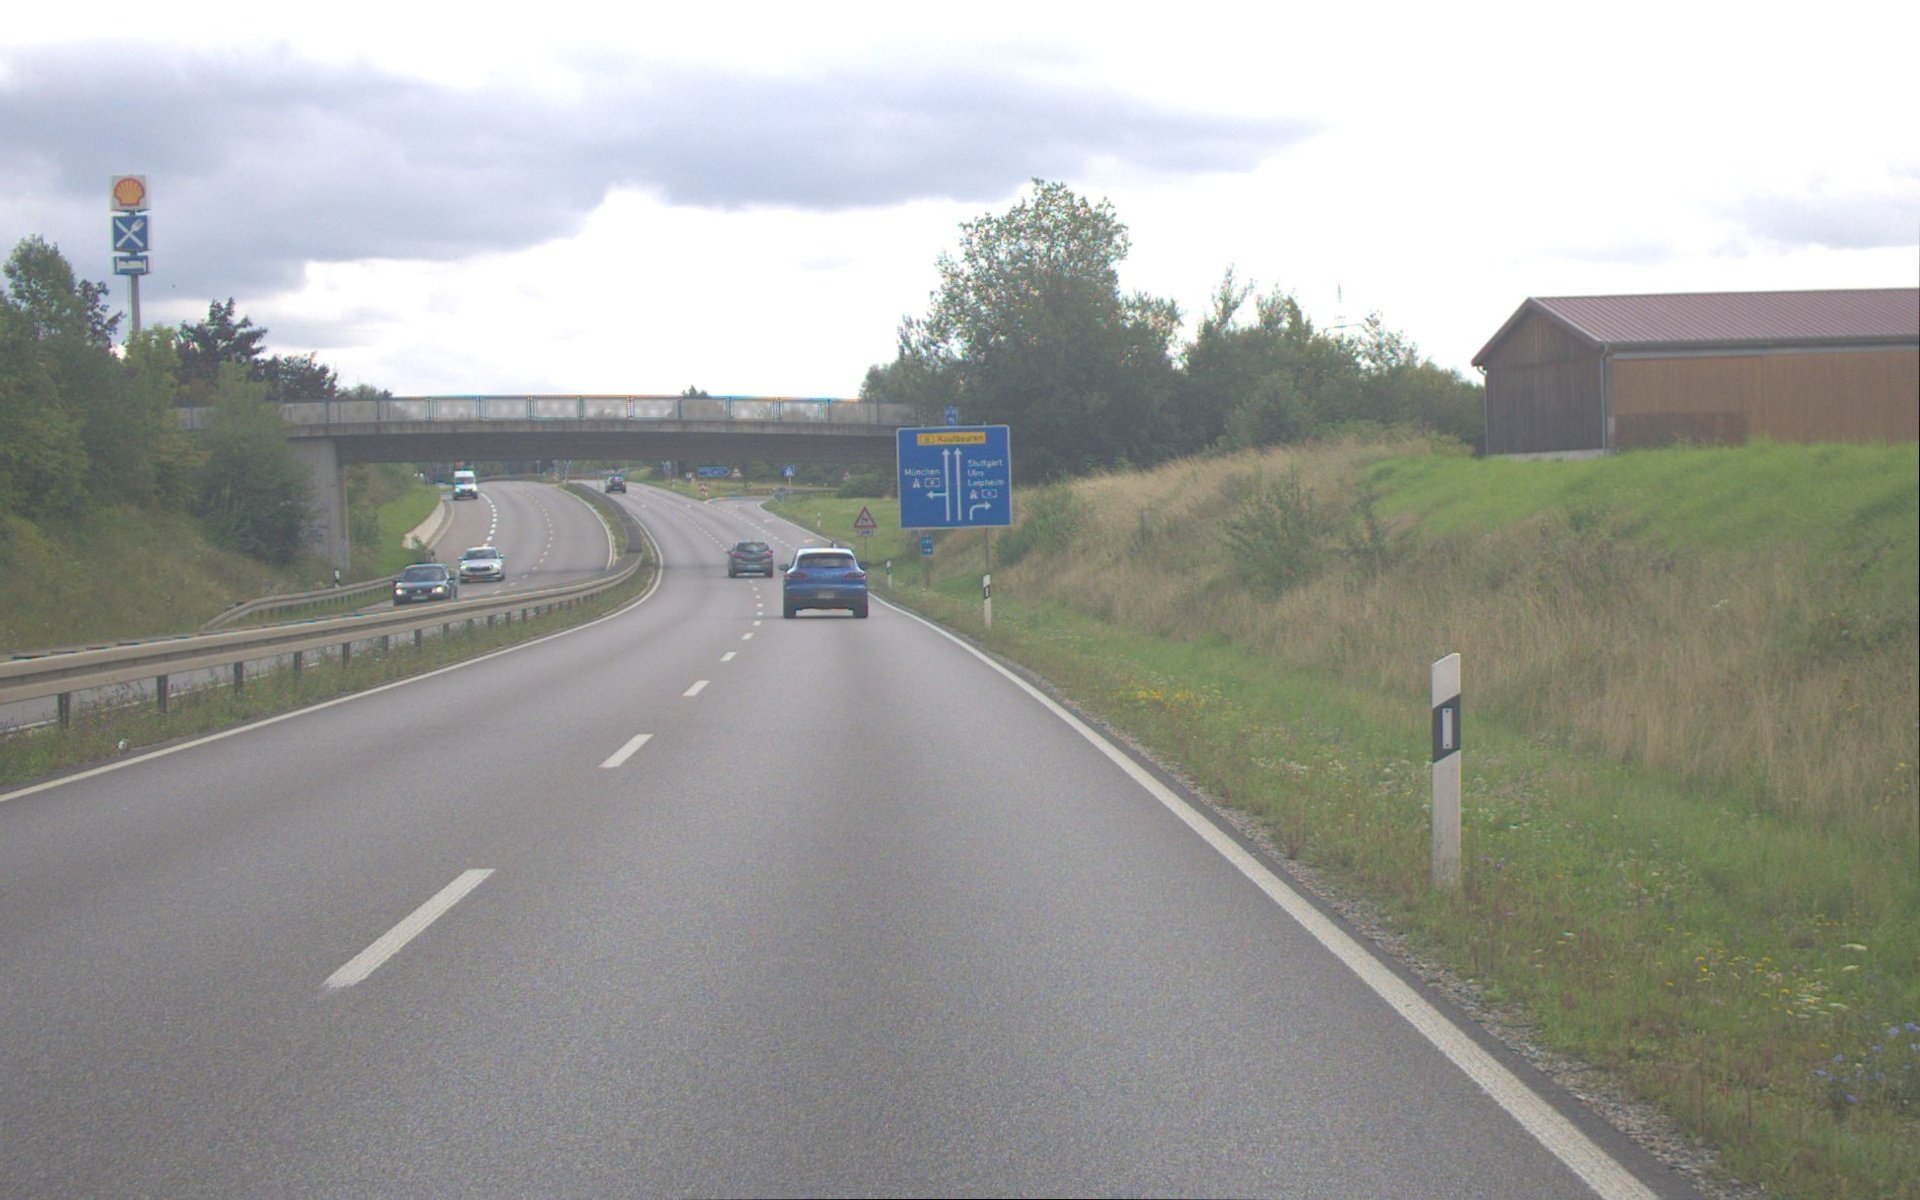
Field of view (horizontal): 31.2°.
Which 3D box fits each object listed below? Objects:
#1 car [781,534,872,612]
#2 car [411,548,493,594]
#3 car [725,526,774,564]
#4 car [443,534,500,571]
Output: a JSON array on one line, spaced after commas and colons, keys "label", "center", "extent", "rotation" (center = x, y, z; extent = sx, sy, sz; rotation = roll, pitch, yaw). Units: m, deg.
[{"label": "car", "center": [-3.127, -0.652, 79.727], "extent": [2.033, 1.654, 4.544], "rotation": [0, 2, -3]}, {"label": "car", "center": [-15.912, -0.926, 107.866], "extent": [1.993, 1.300, 4.822], "rotation": [-1, 1, -2]}, {"label": "car", "center": [-8.604, -2.250, 140.122], "extent": [1.917, 1.448, 4.365], "rotation": [-1, 2, -4]}, {"label": "car", "center": [-20.929, -2.064, 147.408], "extent": [1.993, 1.448, 4.001], "rotation": [-1, 2, -3]}]
